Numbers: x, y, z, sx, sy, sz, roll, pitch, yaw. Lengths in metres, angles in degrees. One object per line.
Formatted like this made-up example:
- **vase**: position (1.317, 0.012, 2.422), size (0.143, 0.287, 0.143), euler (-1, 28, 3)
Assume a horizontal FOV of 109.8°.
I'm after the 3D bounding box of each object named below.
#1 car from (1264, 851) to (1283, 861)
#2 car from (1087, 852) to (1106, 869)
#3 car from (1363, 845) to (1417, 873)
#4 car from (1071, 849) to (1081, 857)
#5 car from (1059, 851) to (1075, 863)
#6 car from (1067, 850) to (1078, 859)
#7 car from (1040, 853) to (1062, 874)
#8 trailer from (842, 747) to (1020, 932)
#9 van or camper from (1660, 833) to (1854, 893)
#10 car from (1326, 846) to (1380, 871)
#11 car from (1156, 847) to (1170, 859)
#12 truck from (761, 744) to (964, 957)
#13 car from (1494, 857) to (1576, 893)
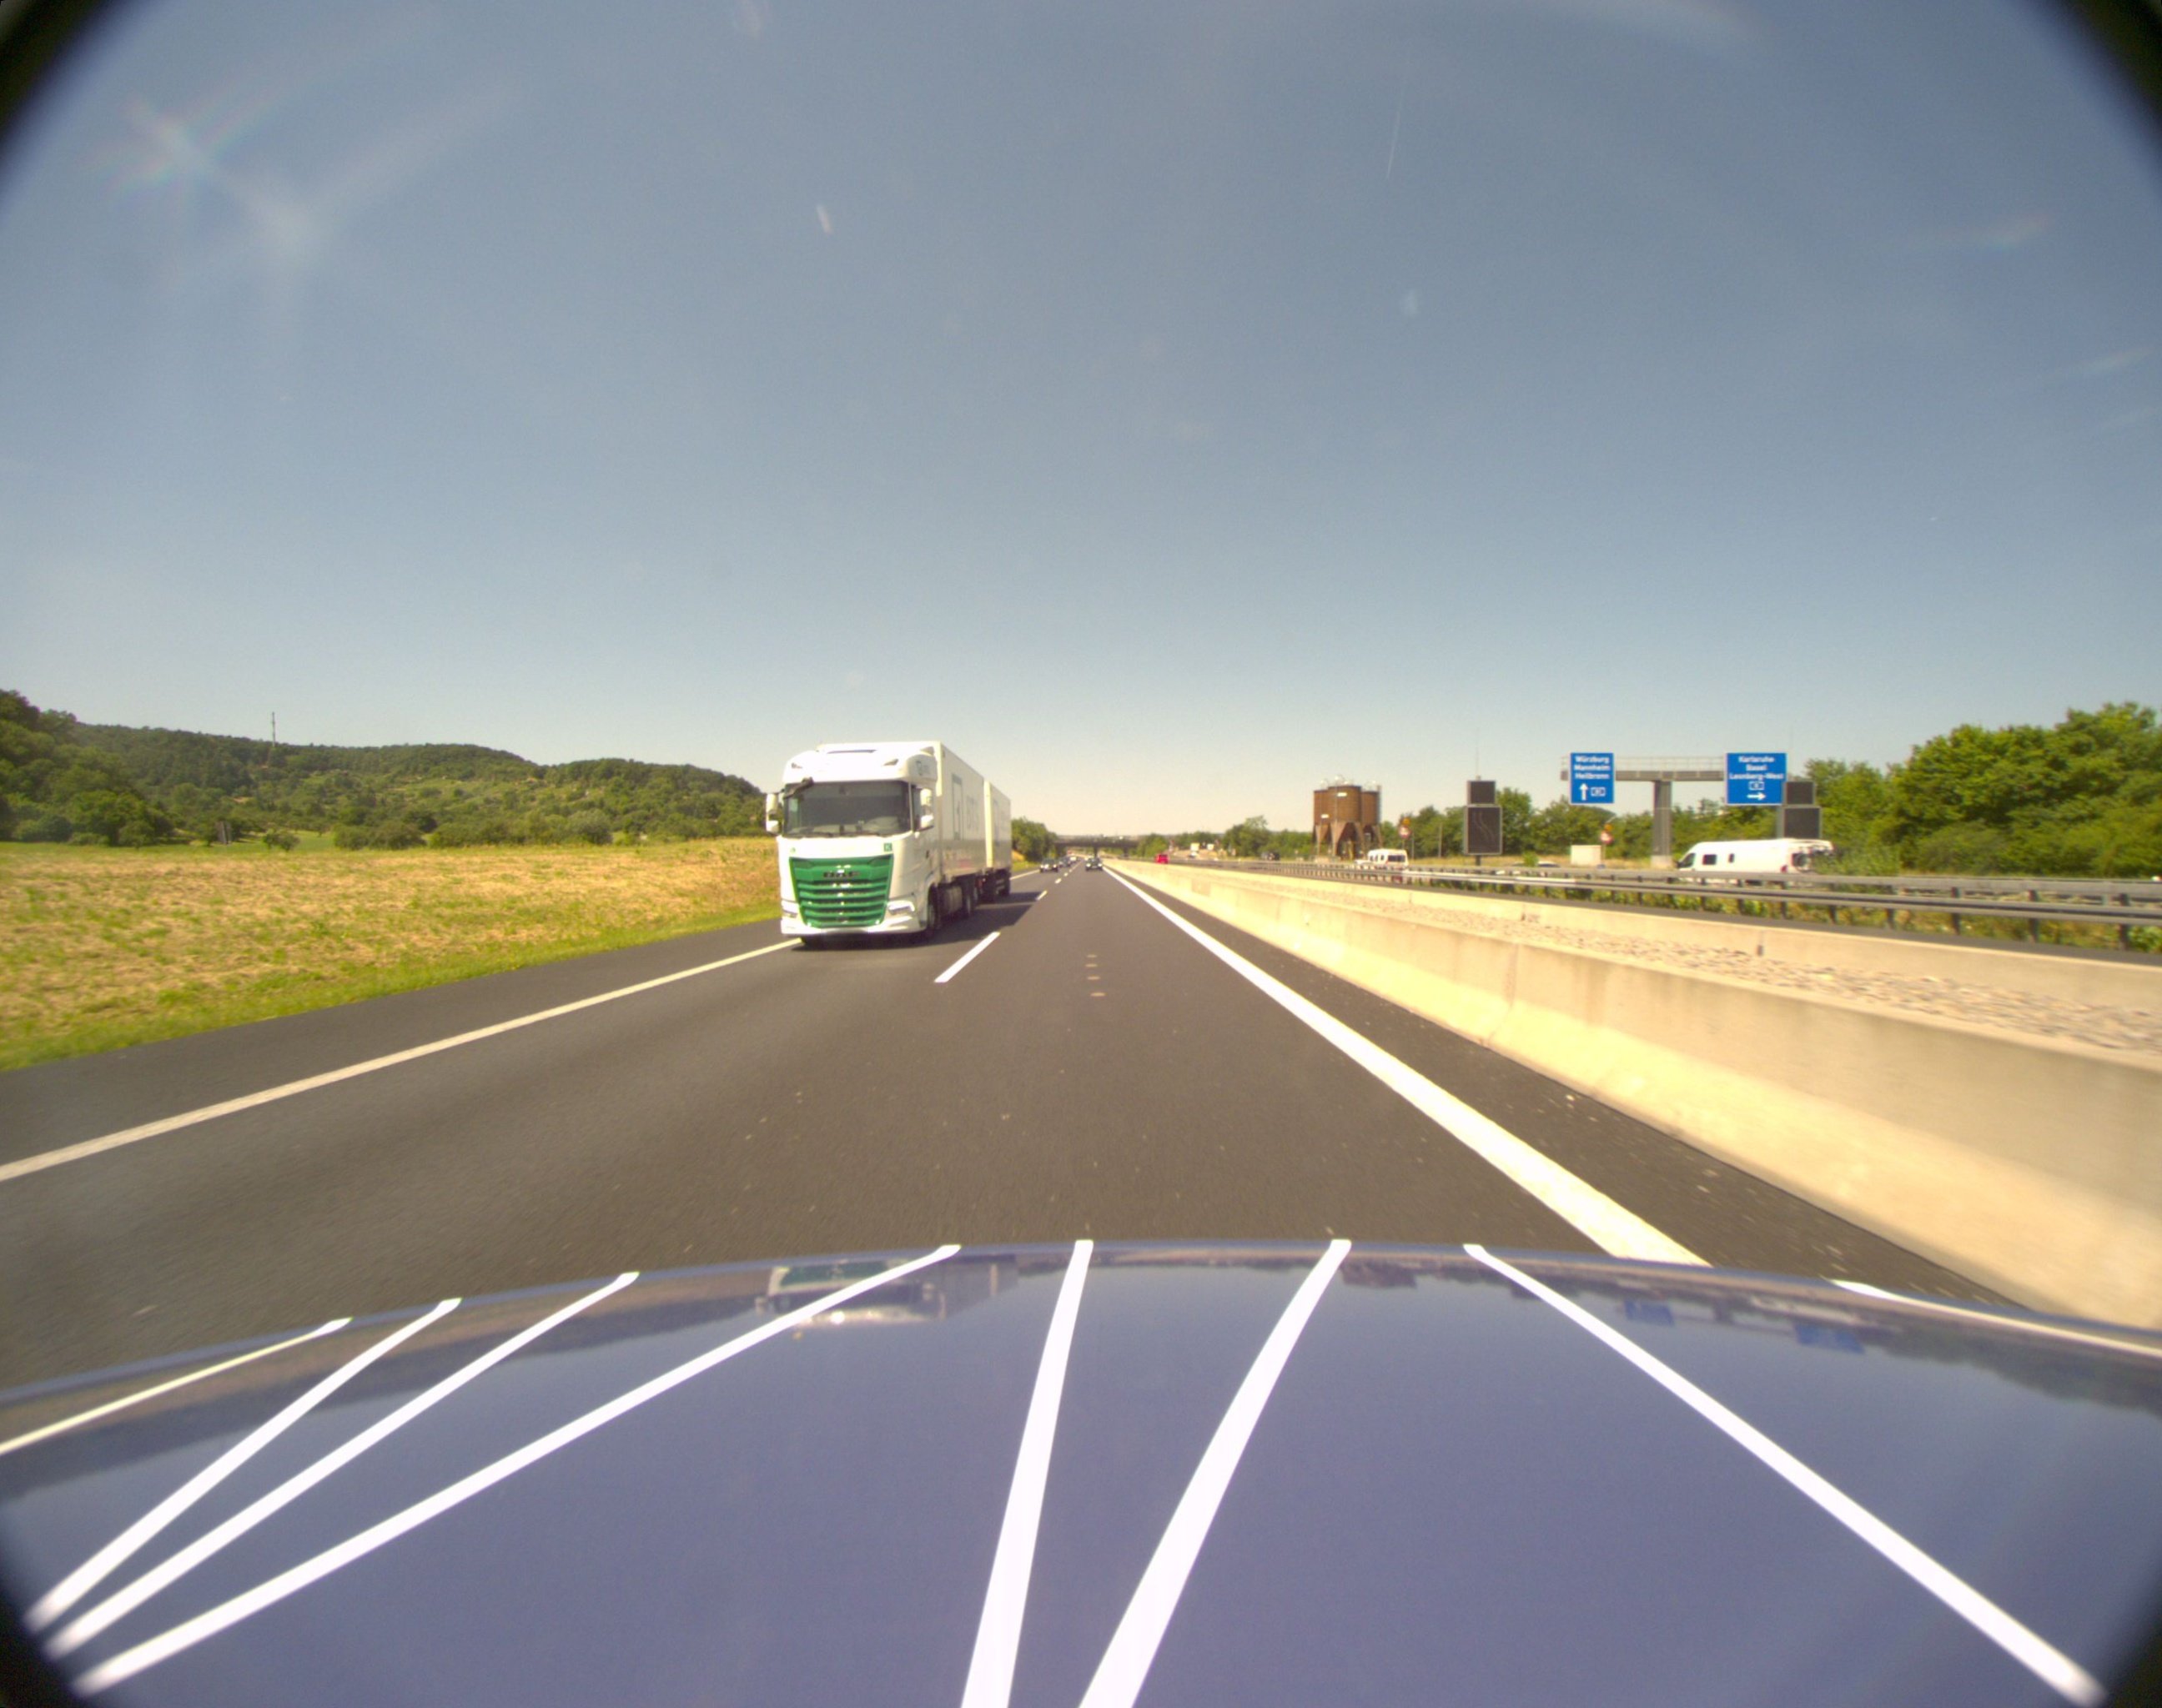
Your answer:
- **car**: position (29.830, 0.271, 117.837), size (1.799, 1.501, 3.999), euler (-2, 1, 1)
- **car**: position (1.566, 0.606, 78.245), size (1.799, 1.574, 3.999), euler (-2, 1, 0)
- **car**: position (29.541, 0.456, 72.944), size (2.803, 2.487, 5.963), euler (1, 0, 1)
- **car**: position (-1.045, -0.247, 170.641), size (1.998, 1.574, 4.000), euler (-3, 0, 2)
- **car**: position (-2.011, 0.443, 108.516), size (1.998, 1.574, 4.000), euler (-3, 0, 2)
- **car**: position (-1.613, 0.053, 145.254), size (1.998, 1.574, 4.000), euler (-3, 0, 2)
- **car**: position (-3.009, 0.970, 77.601), size (1.998, 2.002, 3.999), euler (-2, 1, 1)
- **trailer**: position (-4.039, -0.393, 24.919), size (2.663, 4.164, 14.893), euler (-2, 1, 0)
- **van or camper**: position (28.464, 0.295, 32.484), size (2.112, 2.242, 6.966), euler (-2, 1, 1)
- **car**: position (24.626, 0.384, 69.208), size (2.502, 2.153, 6.934), euler (1, 1, 1)
- **car**: position (13.834, -0.190, 128.654), size (1.998, 2.002, 3.999), euler (-2, 1, 1)
- **truck**: position (-4.085, -0.086, 15.247), size (2.649, 3.572, 4.403), euler (-2, 1, 0)
- **car**: position (24.827, 1.107, 41.738), size (1.799, 1.718, 4.452), euler (-2, 1, -1)
